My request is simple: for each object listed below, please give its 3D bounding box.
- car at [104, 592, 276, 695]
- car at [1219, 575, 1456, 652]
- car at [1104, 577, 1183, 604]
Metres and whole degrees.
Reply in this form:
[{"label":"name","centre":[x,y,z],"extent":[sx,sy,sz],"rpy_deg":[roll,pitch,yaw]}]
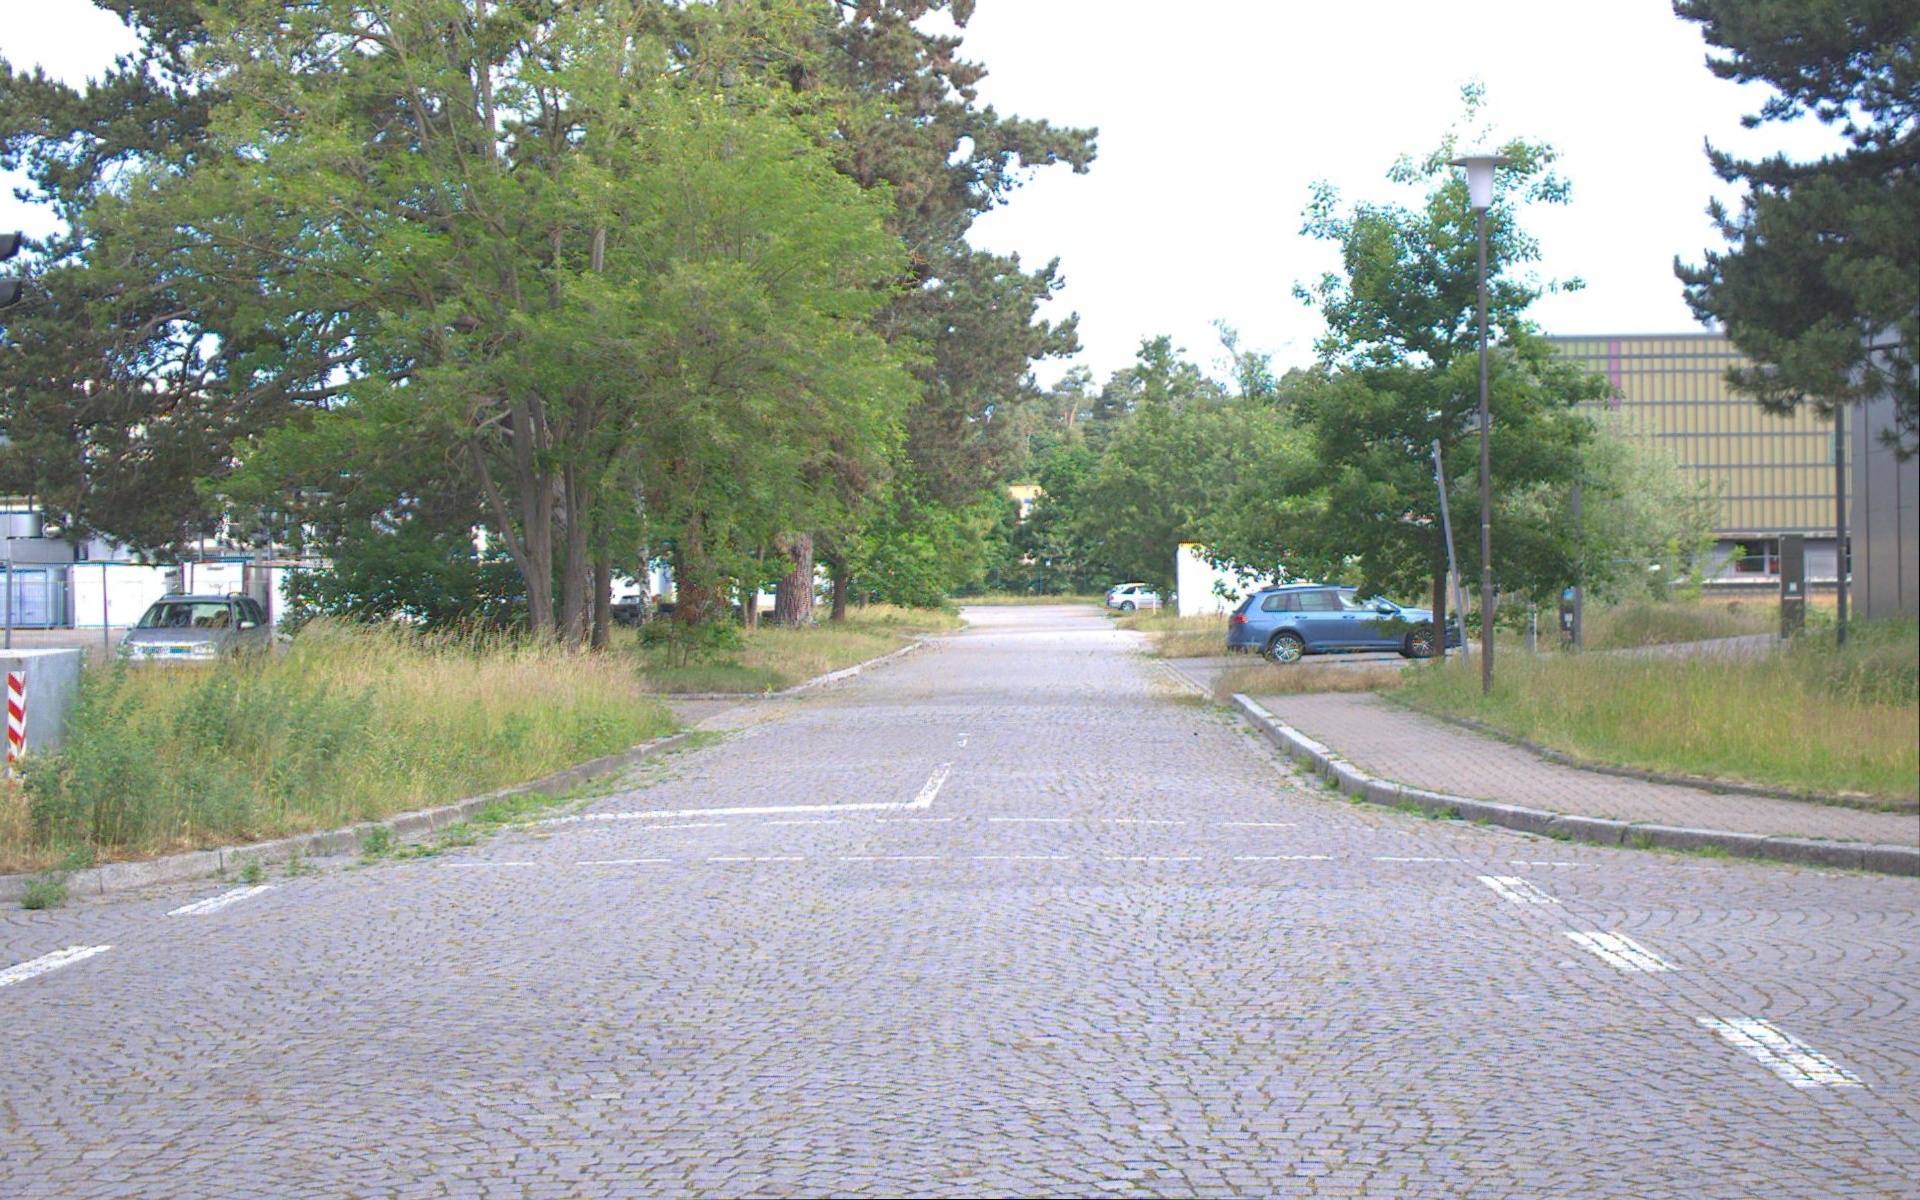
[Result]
[{"label":"car","centre":[-11.682,0.636,52.372],"extent":[1.613,1.482,4.000],"rpy_deg":[0,0,2]},{"label":"car","centre":[7.273,0.250,66.560],"extent":[4.344,1.417,2.000],"rpy_deg":[-1,0,0]},{"label":"car","centre":[9.782,-0.497,183.620],"extent":[3.986,1.393,2.000],"rpy_deg":[-1,0,-4]}]
